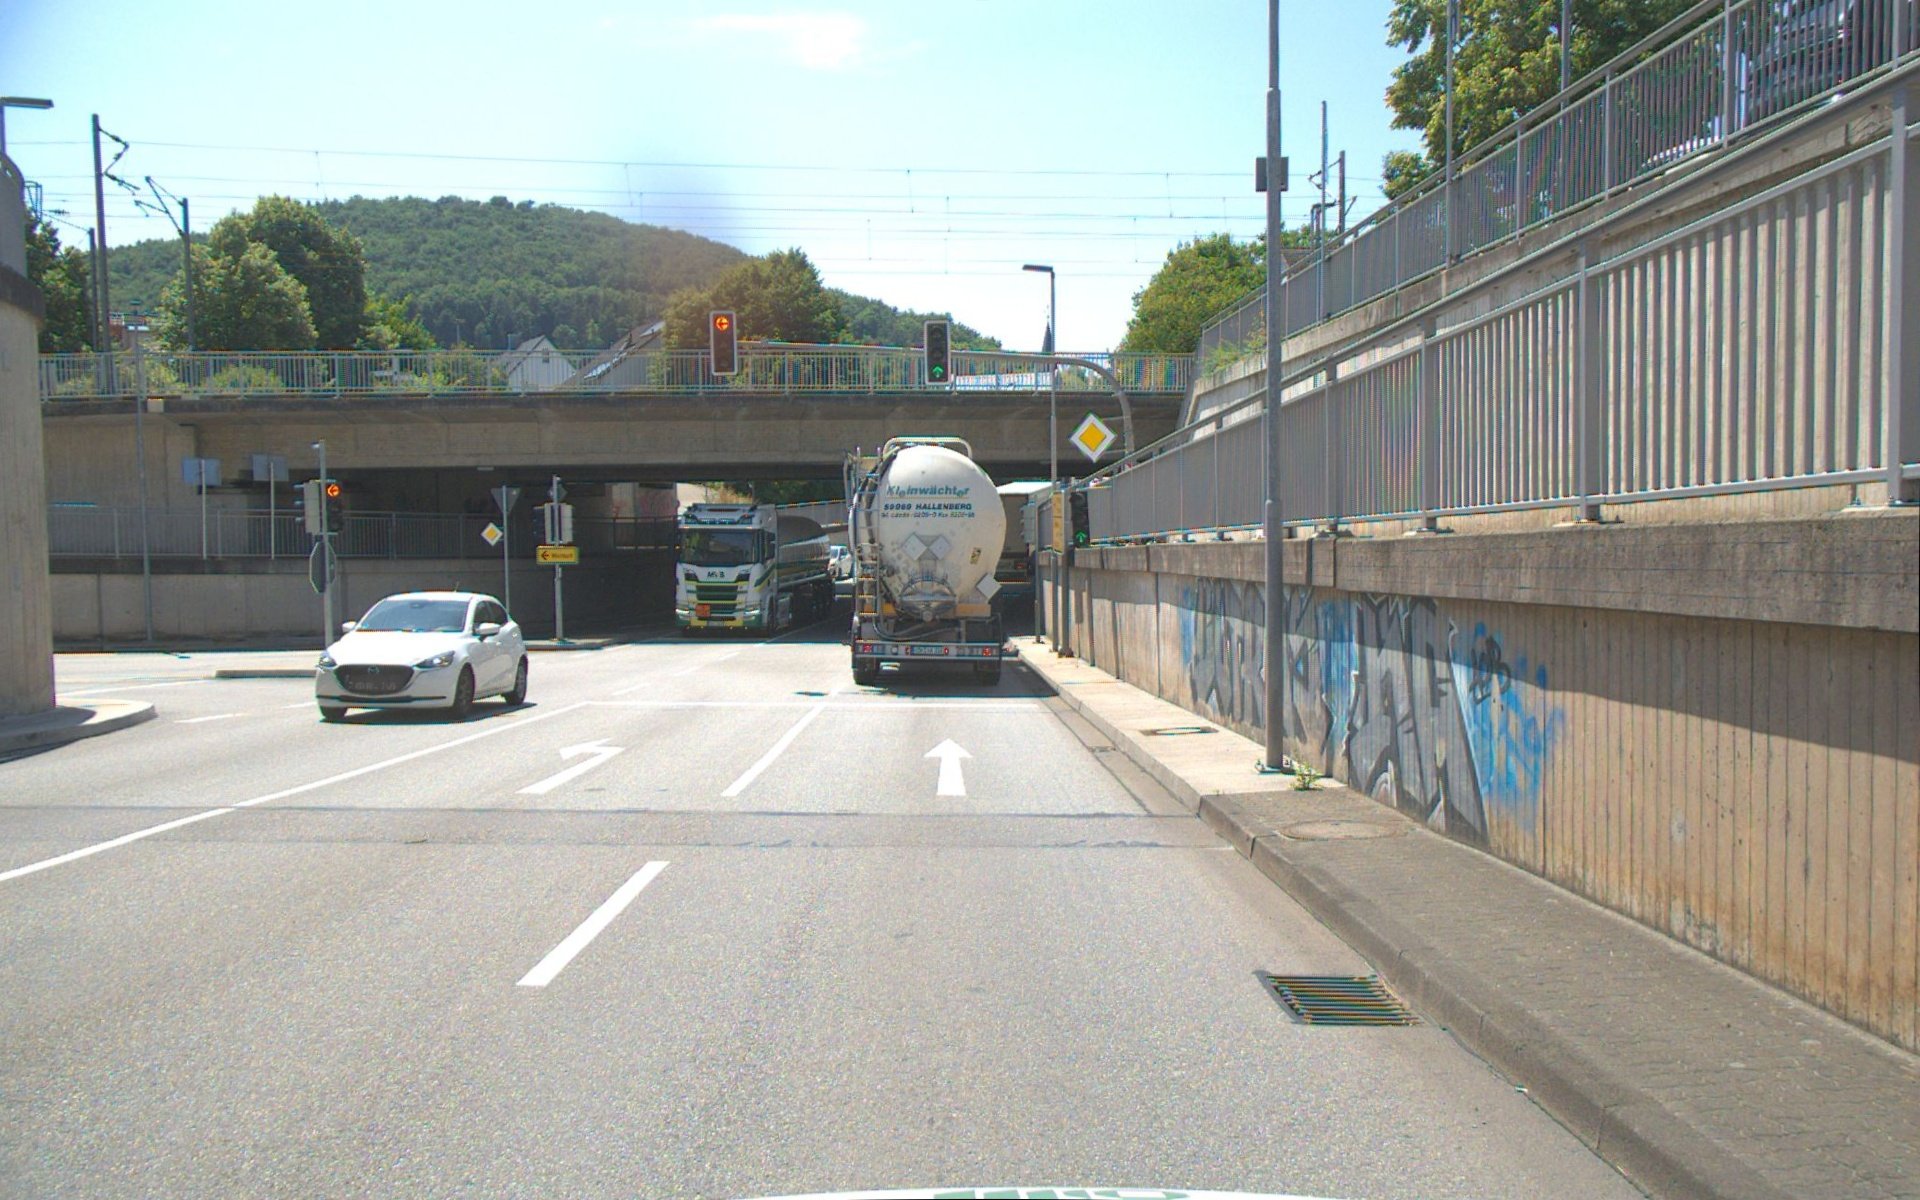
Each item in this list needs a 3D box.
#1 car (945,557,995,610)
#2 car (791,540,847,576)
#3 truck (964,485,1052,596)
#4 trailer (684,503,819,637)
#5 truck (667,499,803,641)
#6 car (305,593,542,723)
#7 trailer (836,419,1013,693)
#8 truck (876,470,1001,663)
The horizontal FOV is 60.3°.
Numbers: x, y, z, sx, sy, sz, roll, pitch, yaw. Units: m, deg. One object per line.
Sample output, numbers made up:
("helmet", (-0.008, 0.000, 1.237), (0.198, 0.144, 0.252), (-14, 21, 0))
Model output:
("car", (0.408, -0.672, 64.347), (1.843, 1.667, 4.004), (0, 6, 2))
("car", (-6.659, -1.999, 78.474), (1.742, 1.491, 3.838), (2, 4, 10))
("truck", (2.479, -2.901, 81.617), (3.015, 5.086, 10.093), (1, 2, 9))
("trailer", (-6.263, -0.880, 51.233), (2.634, 3.727, 9.891), (1, 0, 1))
("truck", (-6.342, -0.830, 47.709), (2.633, 3.727, 7.371), (1, 0, 2))
("car", (-6.598, 0.653, 20.789), (1.648, 1.466, 4.093), (0, 0, 0))
("trailer", (-0.480, -0.696, 31.605), (2.679, 4.135, 13.313), (0, 0, 0))
("truck", (-0.437, -0.736, 38.604), (2.679, 4.135, 6.529), (0, 0, 0))
